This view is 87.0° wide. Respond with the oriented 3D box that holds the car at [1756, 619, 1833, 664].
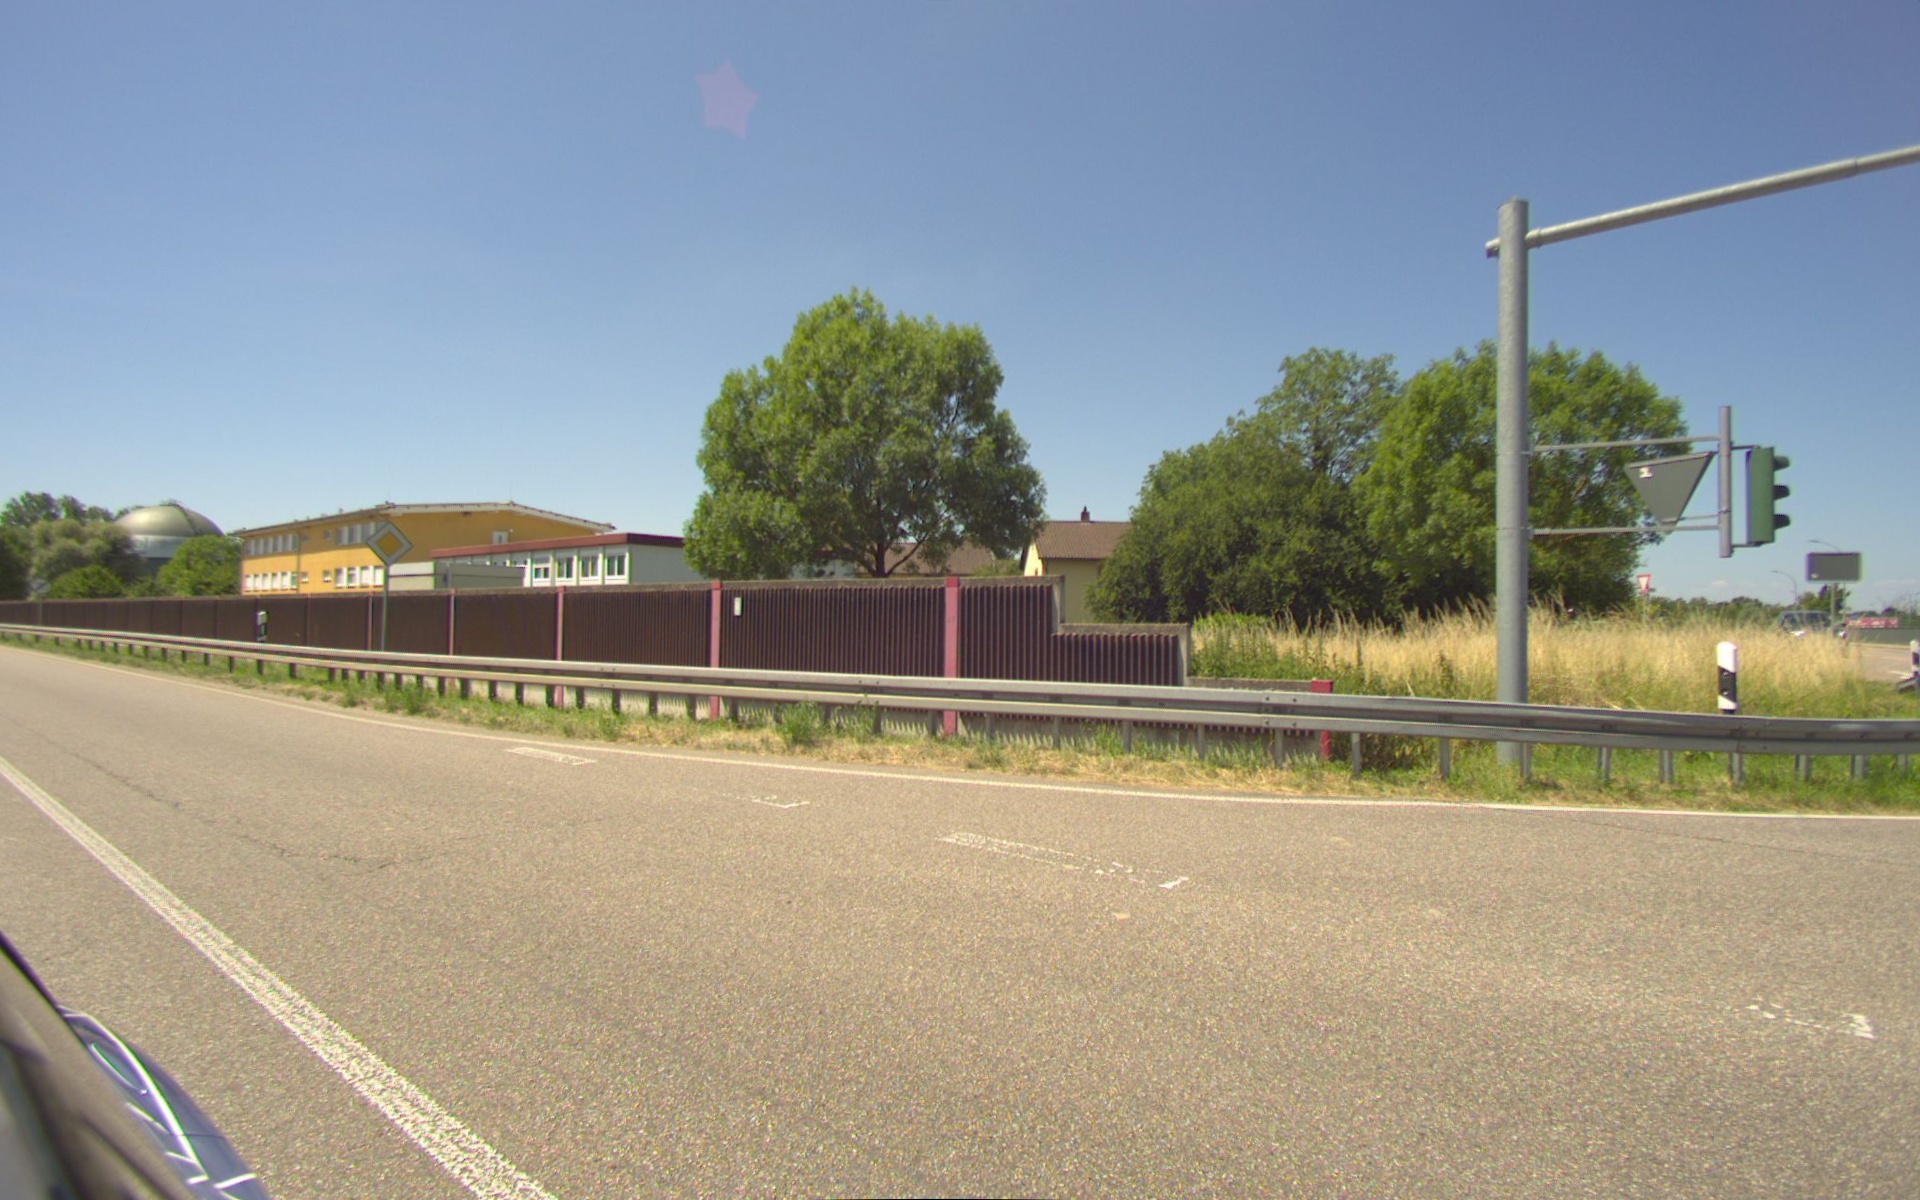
[{"bbox_3d":[32.254,1.576,39.230,1.766,1.637,4.187,-1,-2,33],"label":"car"}]
